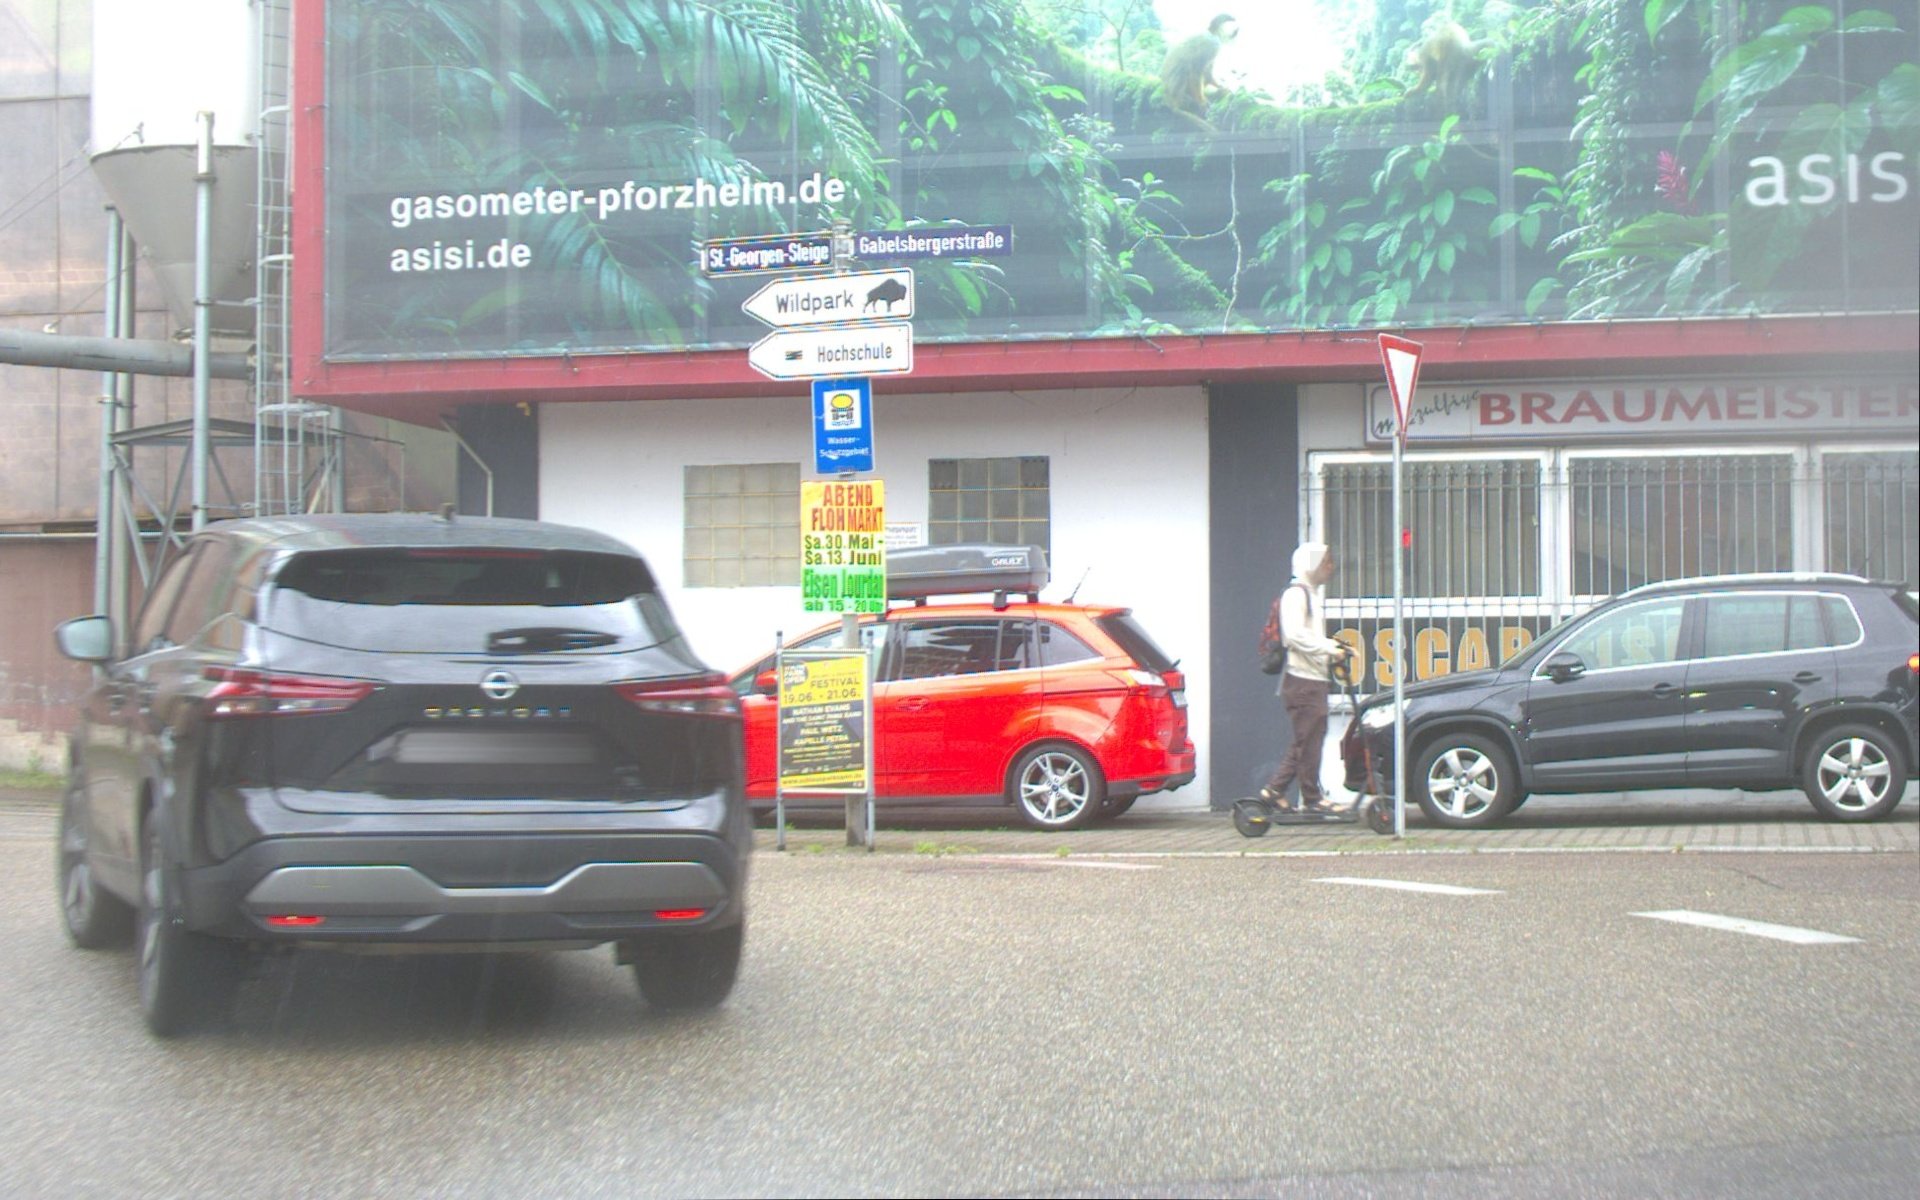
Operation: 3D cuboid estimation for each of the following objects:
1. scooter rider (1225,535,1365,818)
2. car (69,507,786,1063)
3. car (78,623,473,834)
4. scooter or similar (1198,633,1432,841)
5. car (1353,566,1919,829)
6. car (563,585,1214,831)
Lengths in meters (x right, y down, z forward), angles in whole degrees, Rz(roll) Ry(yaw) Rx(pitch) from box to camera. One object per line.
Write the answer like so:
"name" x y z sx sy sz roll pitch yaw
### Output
"scooter rider" 2.204 0.493 22.545 0.780 1.815 0.804 0 0 15
"car" -2.020 0.513 11.970 1.880 1.588 3.922 0 0 -18
"car" -5.565 0.997 28.471 1.870 1.528 3.991 1 1 10
"scooter or similar" 2.330 0.882 22.519 1.405 1.318 0.804 0 0 15
"car" 4.860 0.676 23.903 3.989 1.706 1.931 -1 -1 14
"car" -0.493 0.780 25.561 4.480 1.706 1.931 0 -2 14
